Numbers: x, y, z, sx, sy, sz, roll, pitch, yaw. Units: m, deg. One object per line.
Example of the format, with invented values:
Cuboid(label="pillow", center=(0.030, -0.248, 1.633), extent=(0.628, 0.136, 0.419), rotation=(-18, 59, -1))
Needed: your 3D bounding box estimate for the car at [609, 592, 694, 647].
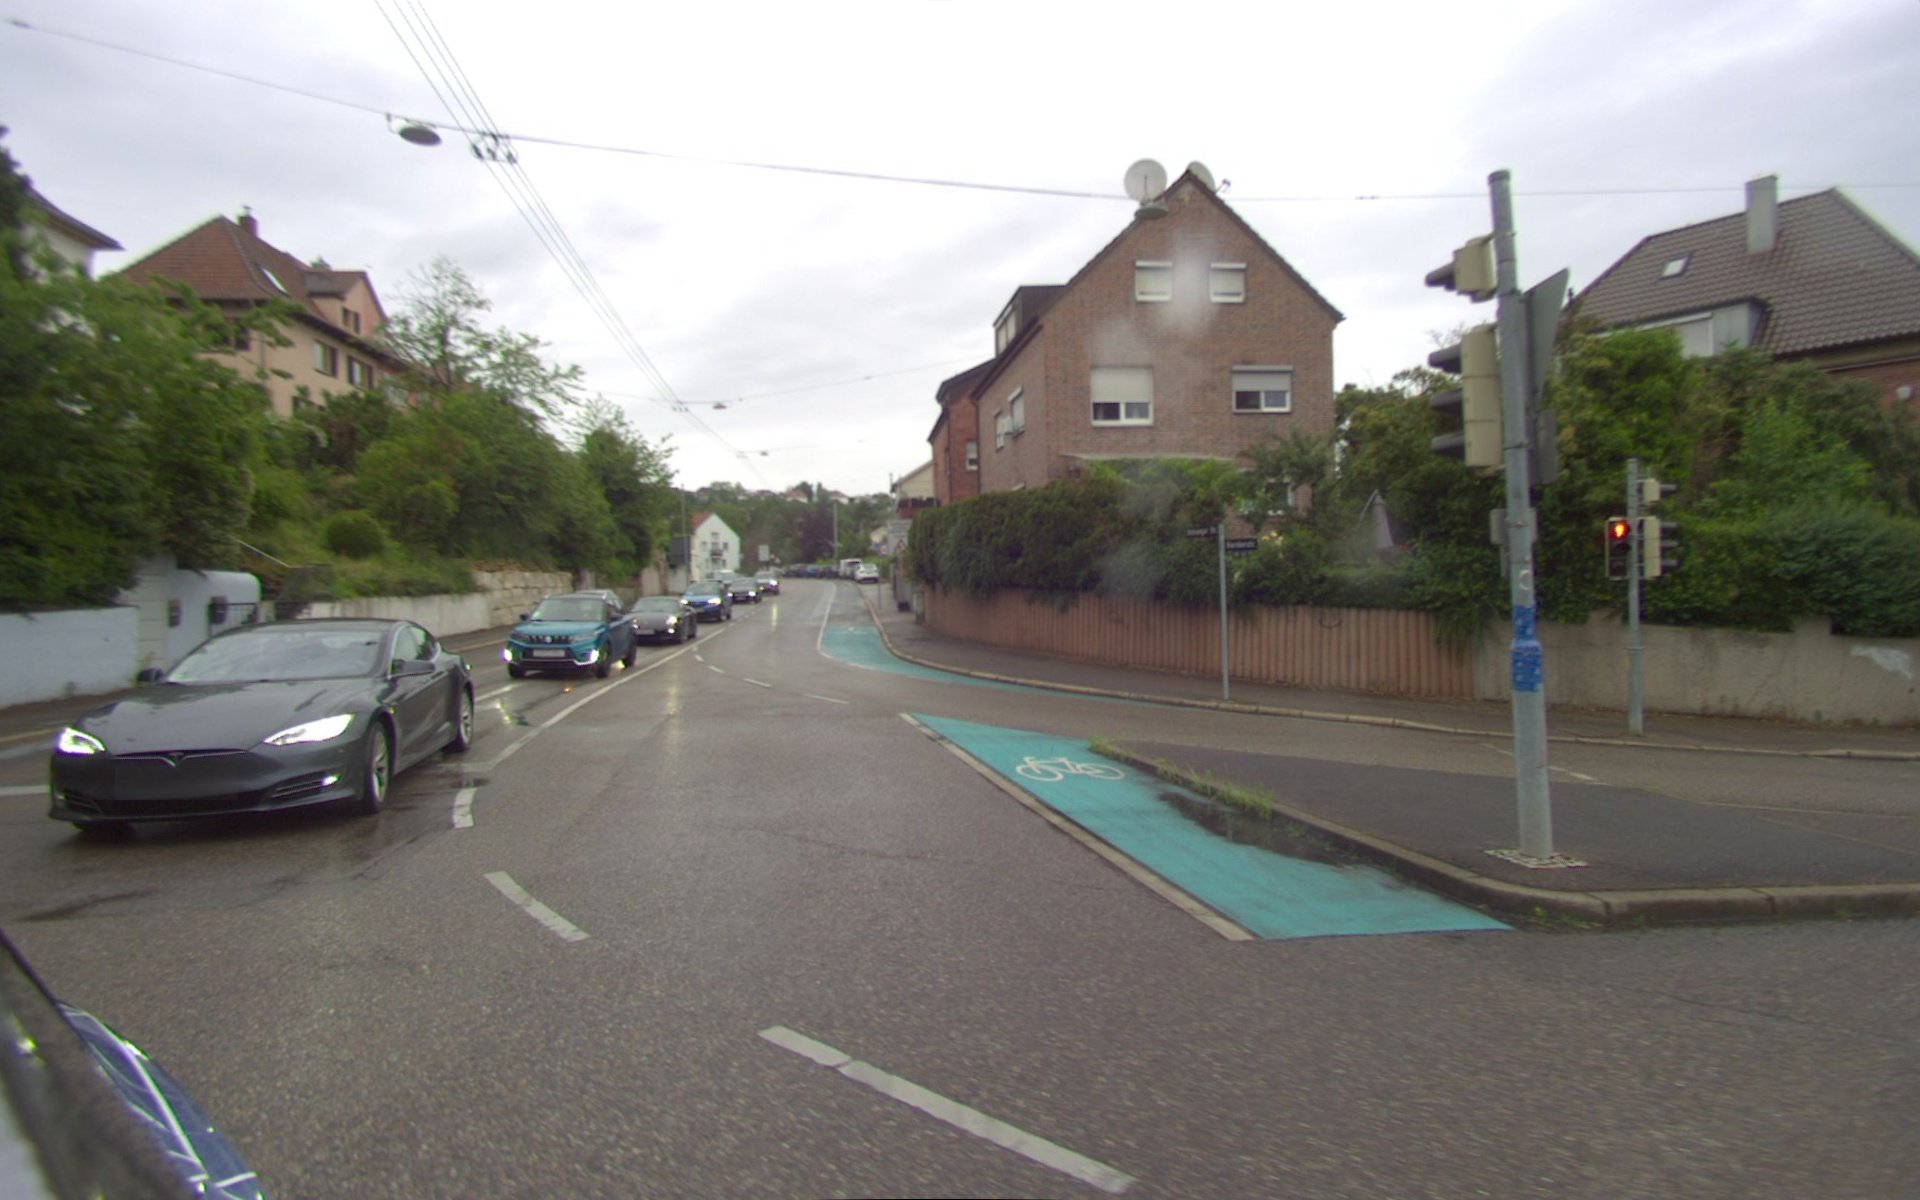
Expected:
Cuboid(label="car", center=(-8.797, 0.515, 29.140), extent=(1.731, 1.471, 4.049), rotation=(0, 0, -8))

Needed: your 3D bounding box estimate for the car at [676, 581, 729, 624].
Cuboid(label="car", center=(-10.252, 0.091, 40.480), extent=(1.731, 1.662, 4.050), rotation=(0, 0, -9))

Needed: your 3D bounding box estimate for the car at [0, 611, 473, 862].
Cuboid(label="car", center=(-5.500, 0.850, 8.424), extent=(1.806, 1.402, 4.336), rotation=(-2, 1, -15))

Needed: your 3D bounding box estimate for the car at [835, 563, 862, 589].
Cuboid(label="car", center=(-11.157, -2.348, 100.923), extent=(1.979, 2.475, 4.462), rotation=(-2, 1, -14))

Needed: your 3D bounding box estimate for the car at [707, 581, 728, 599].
Cuboid(label="car", center=(-20.552, -0.879, 85.824), extent=(1.589, 1.409, 3.374), rotation=(-2, 2, -12))

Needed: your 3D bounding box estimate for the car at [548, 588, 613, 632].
Cuboid(label="car", center=(-14.068, 0.324, 37.677), extent=(1.528, 1.462, 3.372), rotation=(-2, 2, -8))

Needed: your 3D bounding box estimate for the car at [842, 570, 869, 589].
Cuboid(label="car", center=(-9.695, -1.881, 93.598), extent=(1.918, 1.622, 4.462), rotation=(-2, 1, -14))

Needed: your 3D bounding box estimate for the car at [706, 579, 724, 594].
Cuboid(label="car", center=(-24.470, -1.355, 100.965), extent=(1.588, 1.409, 3.376), rotation=(-2, 2, -17))

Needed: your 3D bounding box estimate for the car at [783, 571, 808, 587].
Cuboid(label="car", center=(-19.736, -2.487, 121.315), extent=(1.743, 1.772, 4.338), rotation=(-2, 1, -27))

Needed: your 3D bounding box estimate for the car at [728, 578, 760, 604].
Cuboid(label="car", center=(-12.359, -0.504, 58.069), extent=(1.731, 1.471, 4.050), rotation=(0, 0, -10))

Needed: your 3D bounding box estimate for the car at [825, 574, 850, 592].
Cuboid(label="car", center=(-12.921, -1.779, 106.403), extent=(1.743, 1.772, 4.338), rotation=(-2, 1, -18))

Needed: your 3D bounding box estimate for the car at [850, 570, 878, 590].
Cuboid(label="car", center=(-8.293, -1.688, 87.179), extent=(1.919, 1.622, 4.460), rotation=(-2, 1, -11))

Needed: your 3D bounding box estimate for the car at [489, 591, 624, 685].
Cuboid(label="car", center=(-7.887, 0.667, 20.143), extent=(1.772, 1.622, 4.051), rotation=(-2, 1, -12))

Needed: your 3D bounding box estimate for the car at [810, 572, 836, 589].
Cuboid(label="car", center=(-15.142, -2.141, 111.735), extent=(1.743, 1.772, 4.338), rotation=(-2, 1, -21))

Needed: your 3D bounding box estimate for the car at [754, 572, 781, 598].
Cuboid(label="car", center=(-13.484, -1.016, 71.078), extent=(1.731, 1.661, 4.050), rotation=(-4, 1, -10))

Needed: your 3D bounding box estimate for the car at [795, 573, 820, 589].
Cuboid(label="car", center=(-17.645, -2.159, 116.913), extent=(1.743, 1.772, 4.338), rotation=(-2, 1, -24))
